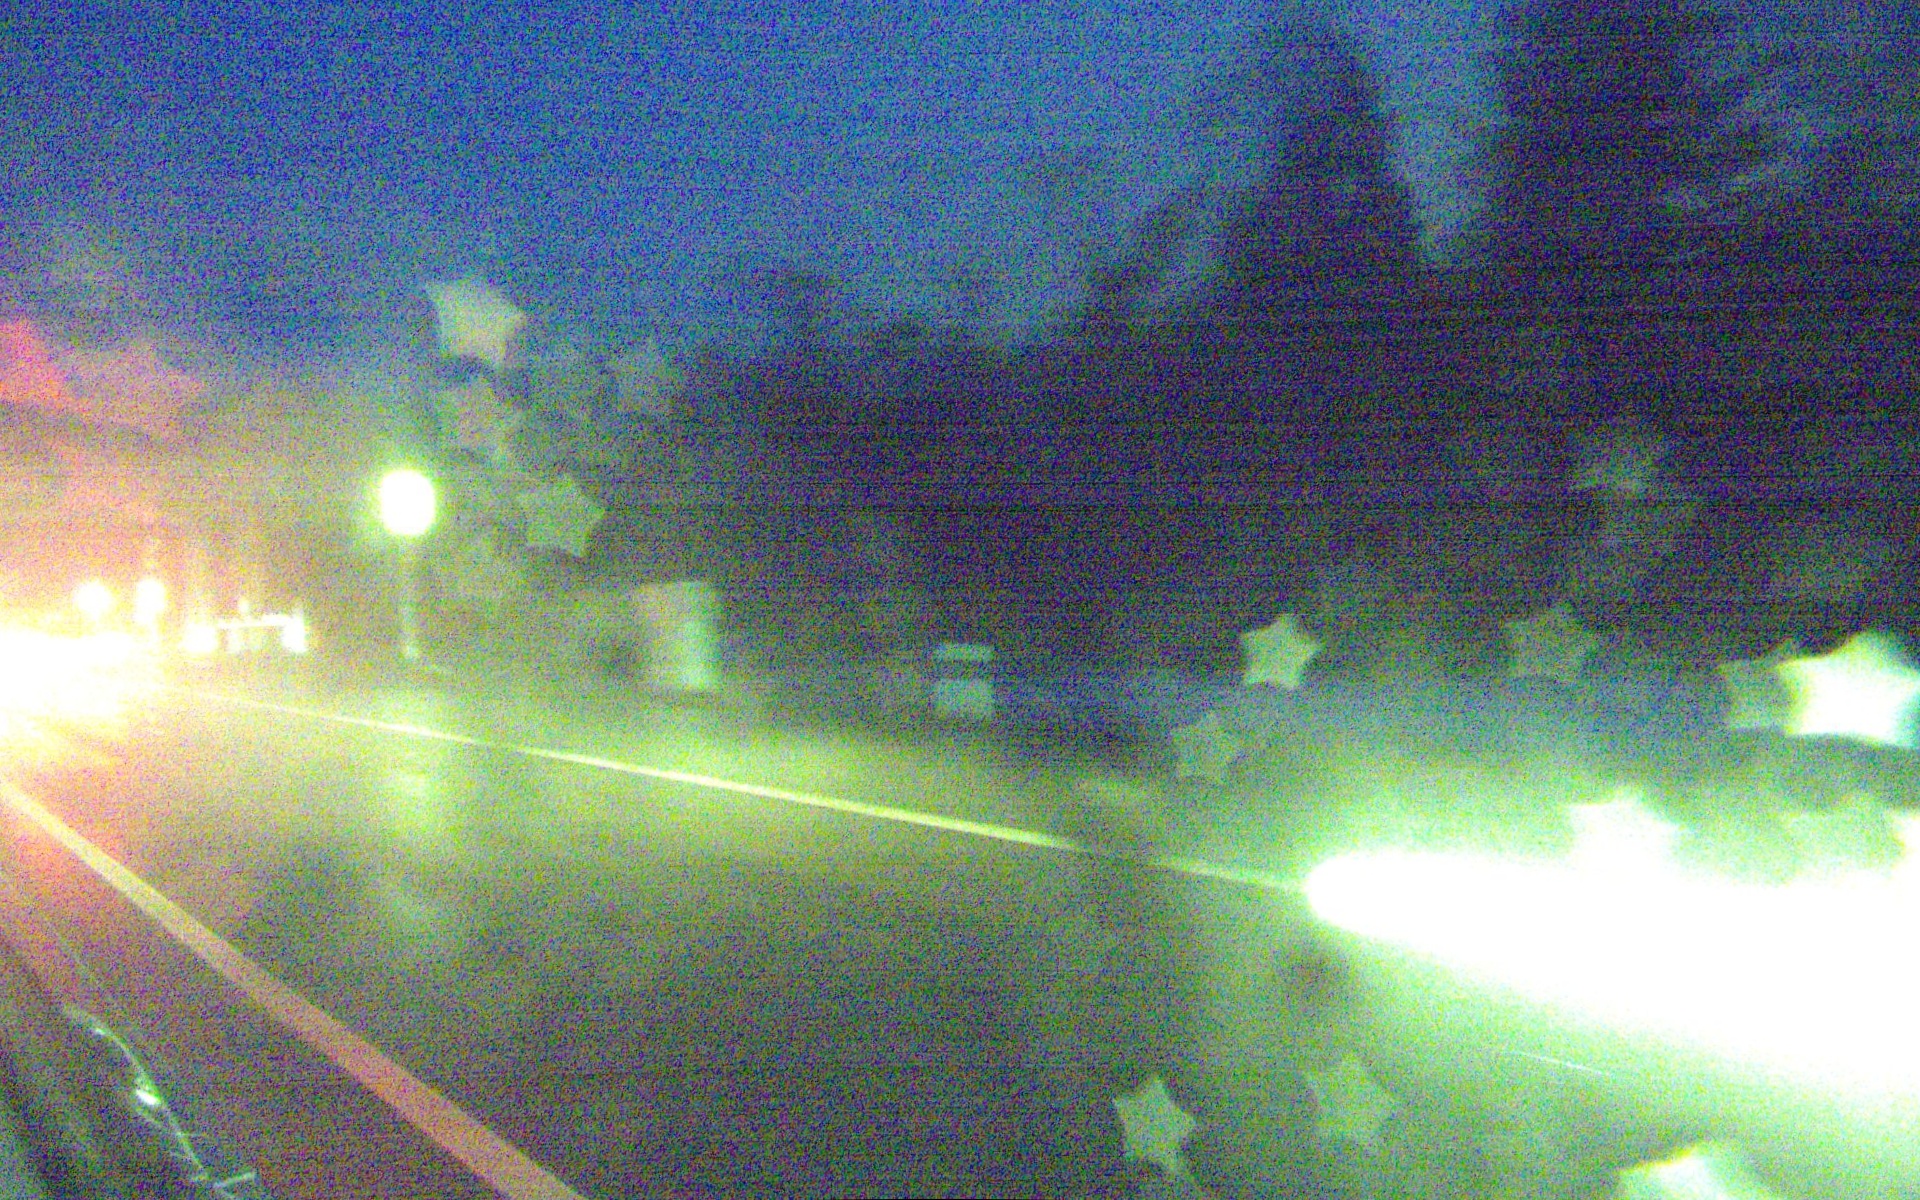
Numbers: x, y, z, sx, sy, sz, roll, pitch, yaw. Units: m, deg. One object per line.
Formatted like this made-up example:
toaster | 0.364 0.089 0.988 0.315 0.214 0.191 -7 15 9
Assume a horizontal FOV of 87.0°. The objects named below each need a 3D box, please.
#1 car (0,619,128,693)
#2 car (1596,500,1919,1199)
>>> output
car | -20.437 1.173 22.664 4.662 1.428 1.973 -1 0 40
car | 3.411 0.543 1.599 3.774 1.509 1.972 -1 0 43
